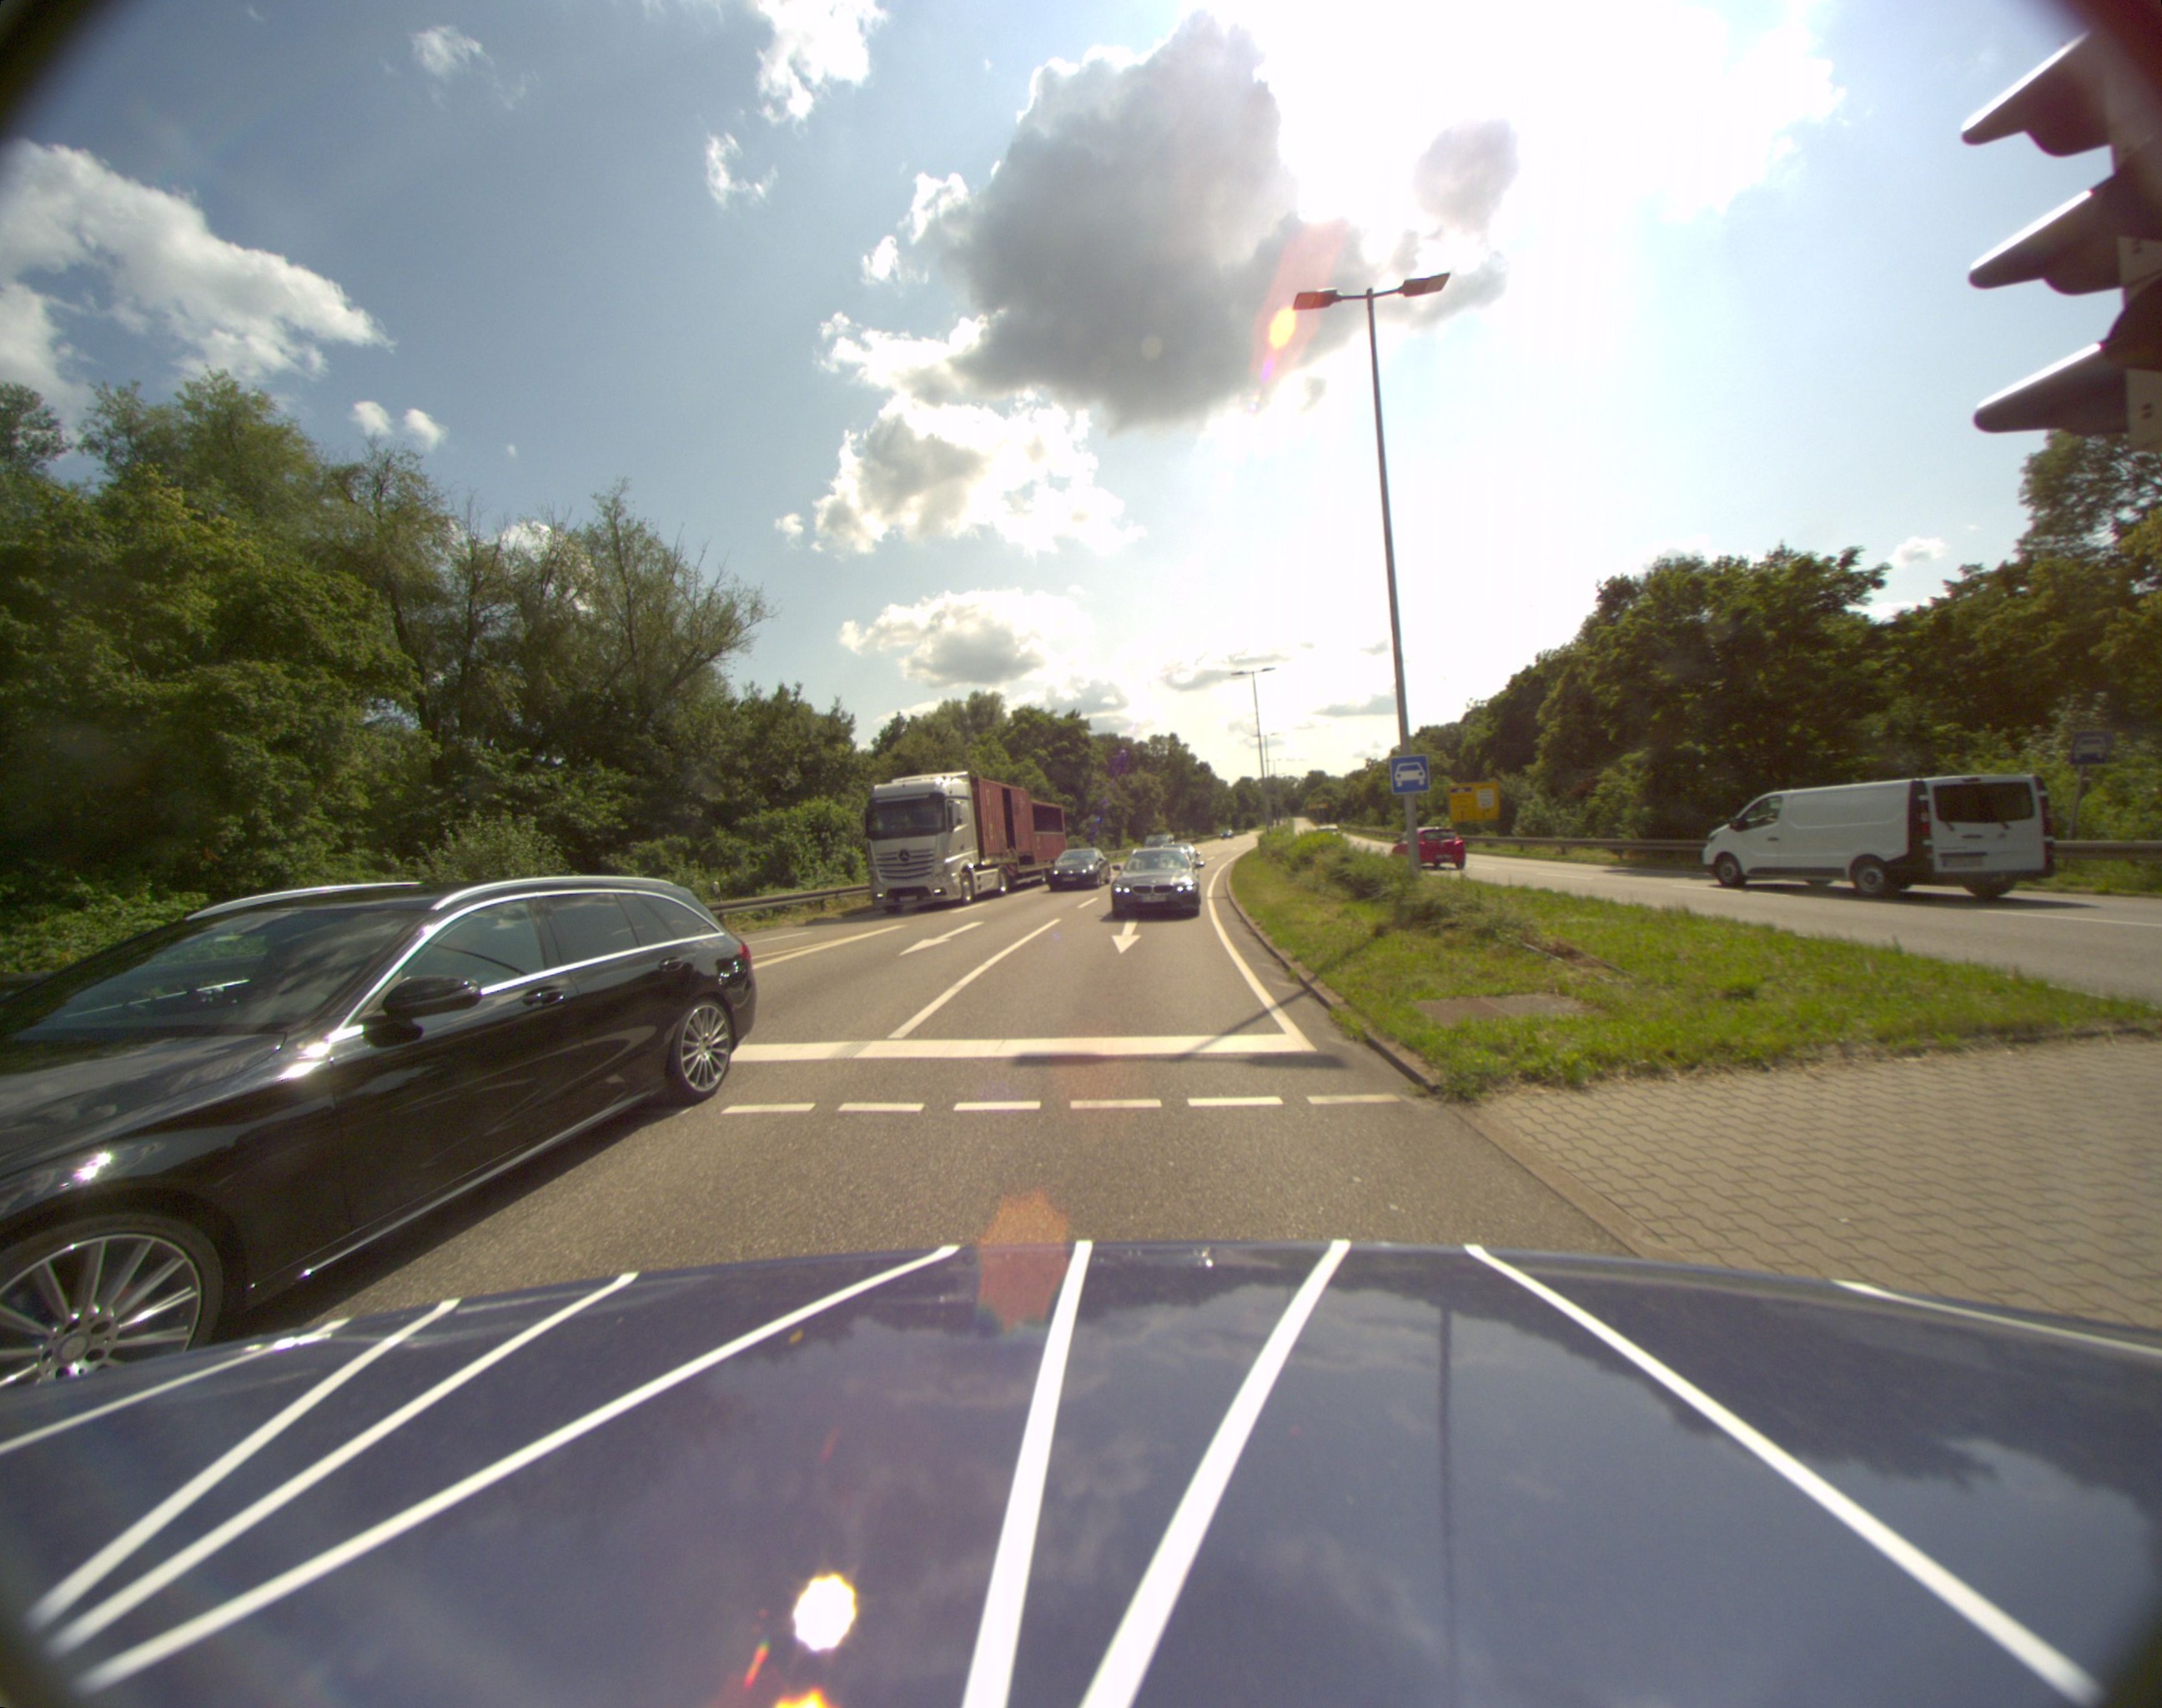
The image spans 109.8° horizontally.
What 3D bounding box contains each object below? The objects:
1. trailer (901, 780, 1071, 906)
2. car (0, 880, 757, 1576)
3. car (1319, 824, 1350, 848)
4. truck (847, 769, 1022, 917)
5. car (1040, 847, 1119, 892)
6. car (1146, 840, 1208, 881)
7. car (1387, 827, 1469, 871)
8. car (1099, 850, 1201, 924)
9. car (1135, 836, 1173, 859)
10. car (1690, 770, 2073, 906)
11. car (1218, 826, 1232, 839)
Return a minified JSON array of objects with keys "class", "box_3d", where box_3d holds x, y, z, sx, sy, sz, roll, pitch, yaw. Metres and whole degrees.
[{"class":"trailer","box_3d":[-3.119,-0.459,30.173,2.776,3.828,12.328,-4,1,11]},{"class":"car","box_3d":[-3.353,0.989,3.180,1.795,1.427,4.370,-3,1,4]},{"class":"car","box_3d":[17.387,-1.247,52.328,1.712,1.577,4.286,-1,1,15]},{"class":"truck","box_3d":[-4.255,-0.340,23.921,2.774,3.823,6.824,-4,1,11]},{"class":"car","box_3d":[0.043,0.514,27.940,1.856,1.403,4.004,-3,1,15]},{"class":"car","box_3d":[3.932,0.214,30.582,1.856,1.403,4.004,-3,1,15]},{"class":"car","box_3d":[12.444,-0.200,27.526,1.584,1.424,4.002,-2,1,8]},{"class":"car","box_3d":[1.667,0.646,17.035,1.857,1.355,4.002,-2,1,11]},{"class":"car","box_3d":[5.004,-0.460,51.695,1.856,1.403,4.004,-3,1,15]},{"class":"car","box_3d":[14.072,-0.277,14.002,1.997,2.002,5.136,-1,1,6]},{"class":"car","box_3d":[24.157,-3.635,127.409,1.975,2.002,4.002,-2,2,13]}]
